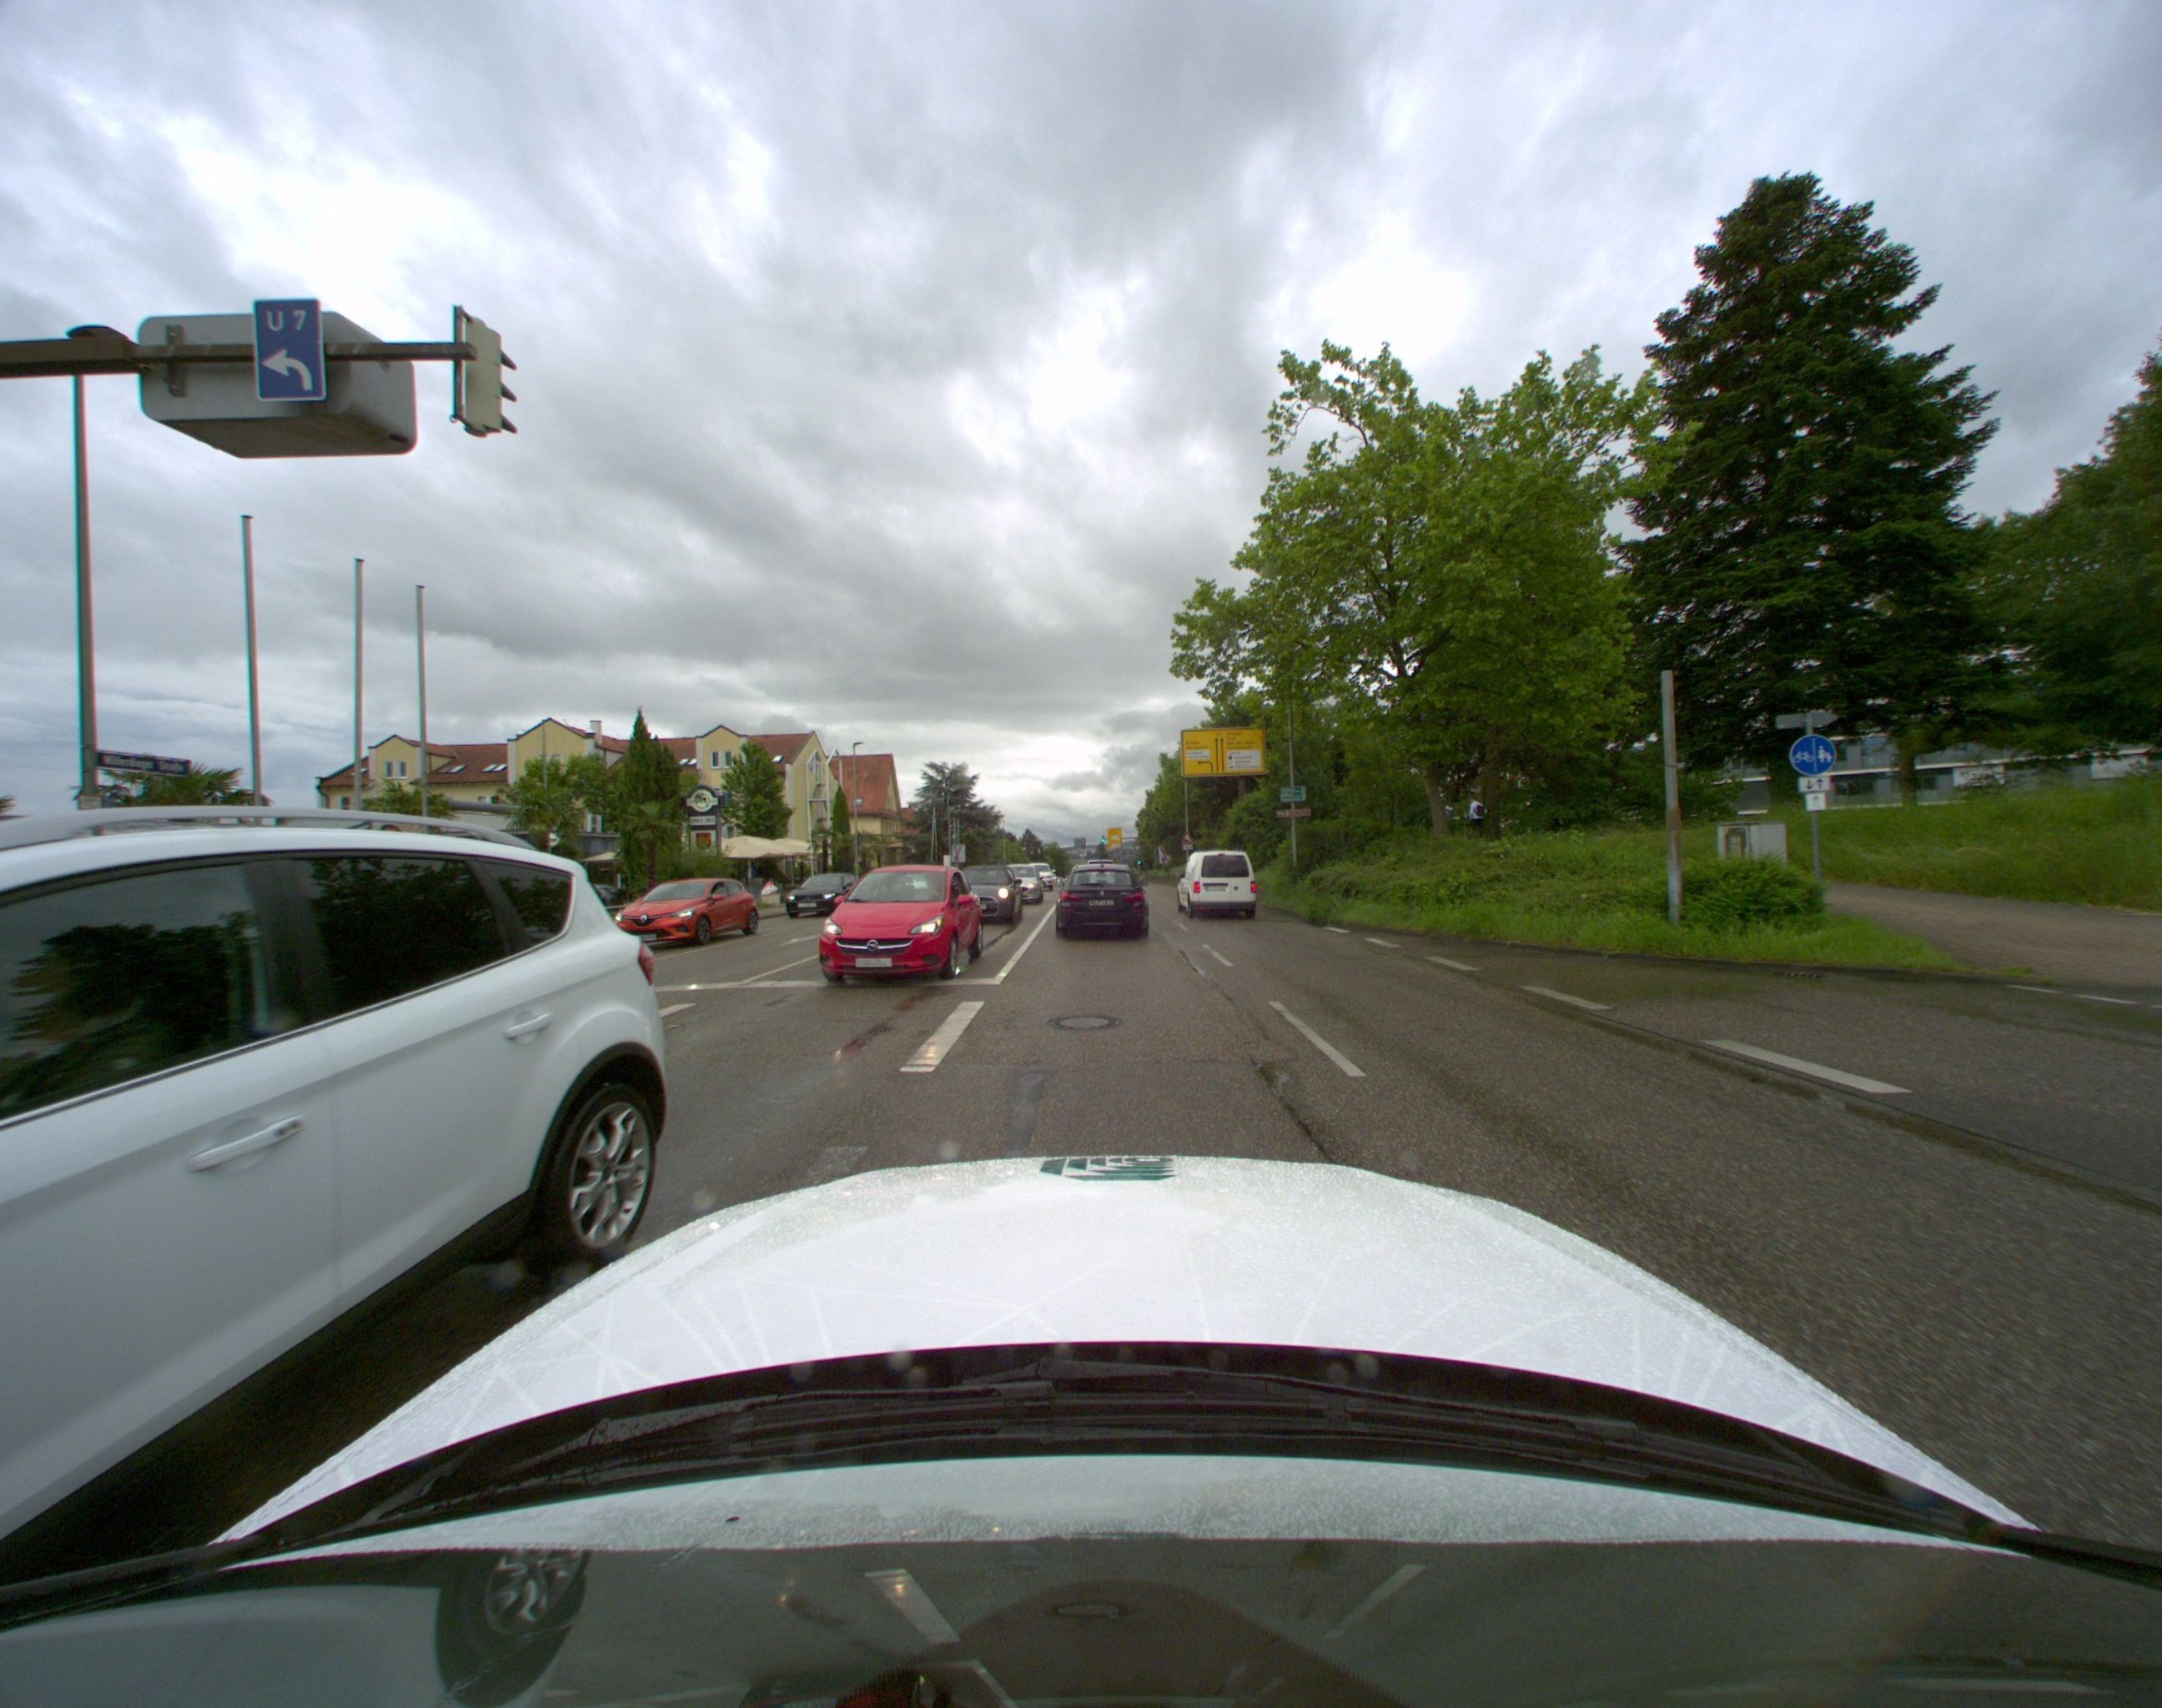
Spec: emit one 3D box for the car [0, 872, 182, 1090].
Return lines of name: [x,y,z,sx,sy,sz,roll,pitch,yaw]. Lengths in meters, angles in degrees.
car: [-9.123,1.036,5.427,1.670,1.618,4.001,-3,1,1]

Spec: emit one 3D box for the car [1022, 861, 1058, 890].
car: [-2.349,1.238,47.455,1.781,1.581,4.239,-1,-1,0]

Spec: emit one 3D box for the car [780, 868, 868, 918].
car: [-8.760,1.275,28.139,1.597,1.399,4.404,-4,0,0]

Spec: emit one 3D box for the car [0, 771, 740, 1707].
car: [-2.662,0.714,1.880,1.833,1.649,4.298,-2,0,1]

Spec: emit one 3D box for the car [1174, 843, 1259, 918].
car: [3.638,0.653,22.520,1.758,1.877,3.806,-1,1,1]

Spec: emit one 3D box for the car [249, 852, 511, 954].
car: [-16.864,1.106,19.947,4.410,2.013,1.982,-4,0,-27]

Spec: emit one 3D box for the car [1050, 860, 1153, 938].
car: [0.453,0.870,17.198,1.891,1.441,4.001,-1,-1,2]

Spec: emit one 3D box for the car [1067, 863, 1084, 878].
car: [-0.667,2.054,102.874,1.861,1.673,4.002,-1,1,2]

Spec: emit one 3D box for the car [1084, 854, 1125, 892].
car: [1.153,0.881,39.894,1.861,1.673,4.002,-1,1,2]

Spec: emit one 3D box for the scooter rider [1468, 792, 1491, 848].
scooter rider: [14.092,-1.195,28.816,0.499,1.965,0.548,-2,0,1]

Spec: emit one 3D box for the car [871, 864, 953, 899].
car: [-7.640,1.251,36.640,3.994,1.477,1.652,-3,-1,44]

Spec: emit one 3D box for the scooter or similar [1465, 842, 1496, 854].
scooter or similar: [14.123,-0.220,28.821,0.485,0.403,1.256,-2,1,1]

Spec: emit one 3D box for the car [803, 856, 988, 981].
car: [-2.445,0.810,11.783,1.626,1.434,4.144,-2,-1,1]

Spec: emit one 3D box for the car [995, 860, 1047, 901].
car: [-2.205,0.983,30.873,1.596,1.441,3.948,-1,-1,1]

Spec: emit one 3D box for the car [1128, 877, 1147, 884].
car: [12.199,5.758,176.618,3.968,1.376,1.587,-1,-2,5]

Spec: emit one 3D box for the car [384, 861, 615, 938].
car: [-16.340,1.264,23.281,5.024,1.702,1.982,-3,-2,-27]

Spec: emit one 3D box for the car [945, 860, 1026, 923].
car: [-2.407,0.899,21.389,1.596,1.441,3.949,-1,0,1]

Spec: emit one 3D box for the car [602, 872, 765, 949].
car: [-8.723,1.178,18.276,1.617,1.332,3.947,-3,0,1]
